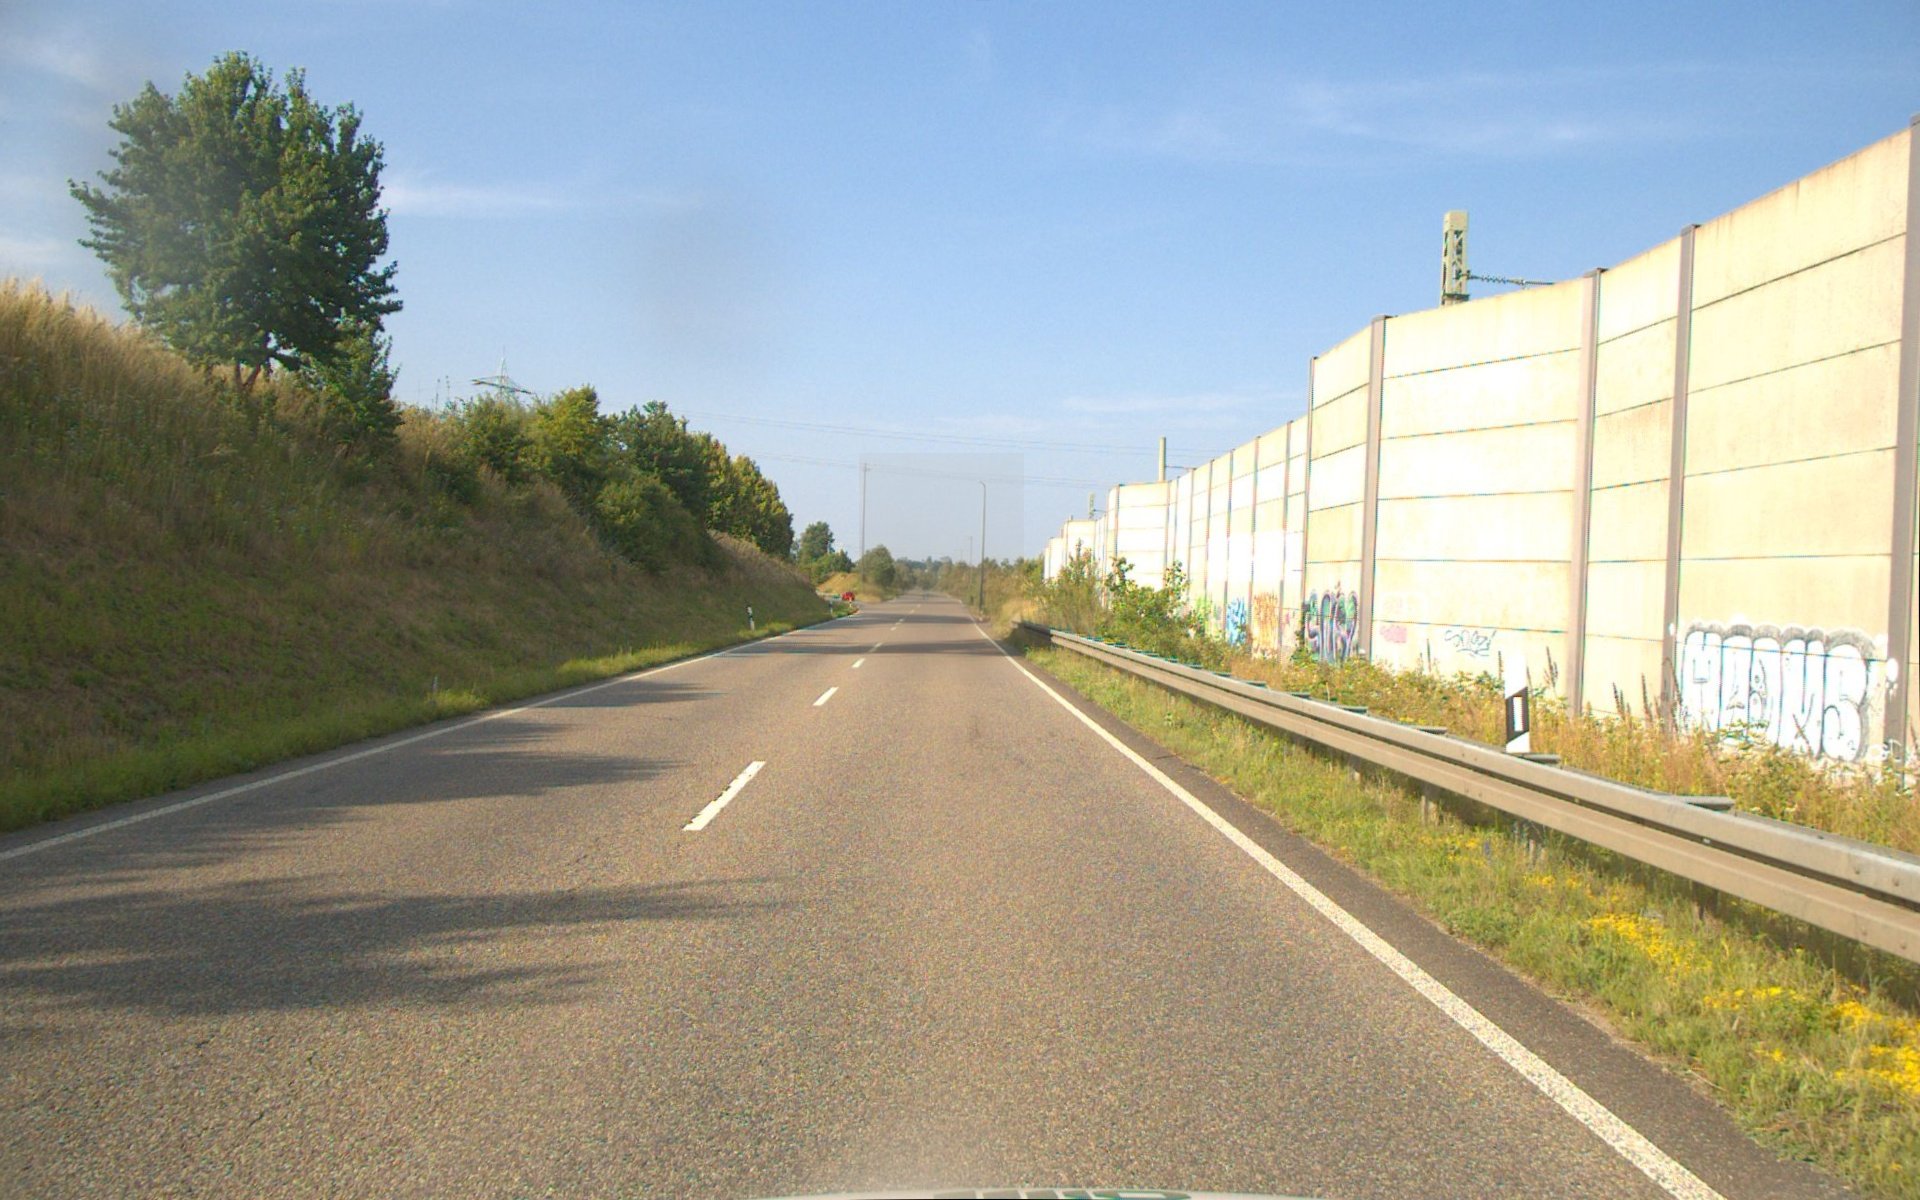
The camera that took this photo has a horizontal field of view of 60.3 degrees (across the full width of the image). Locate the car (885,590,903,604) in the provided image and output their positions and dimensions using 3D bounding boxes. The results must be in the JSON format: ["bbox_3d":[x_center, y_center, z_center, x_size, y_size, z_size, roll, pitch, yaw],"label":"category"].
[{"bbox_3d":[-8.094,-0.389,203.168,2.005,1.609,4.359,1,0,-1],"label":"car"}]

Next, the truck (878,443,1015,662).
[{"bbox_3d":[-0.611,-1.211,45.571,3.225,5.179,12.031,1,1,-3],"label":"truck"}]
